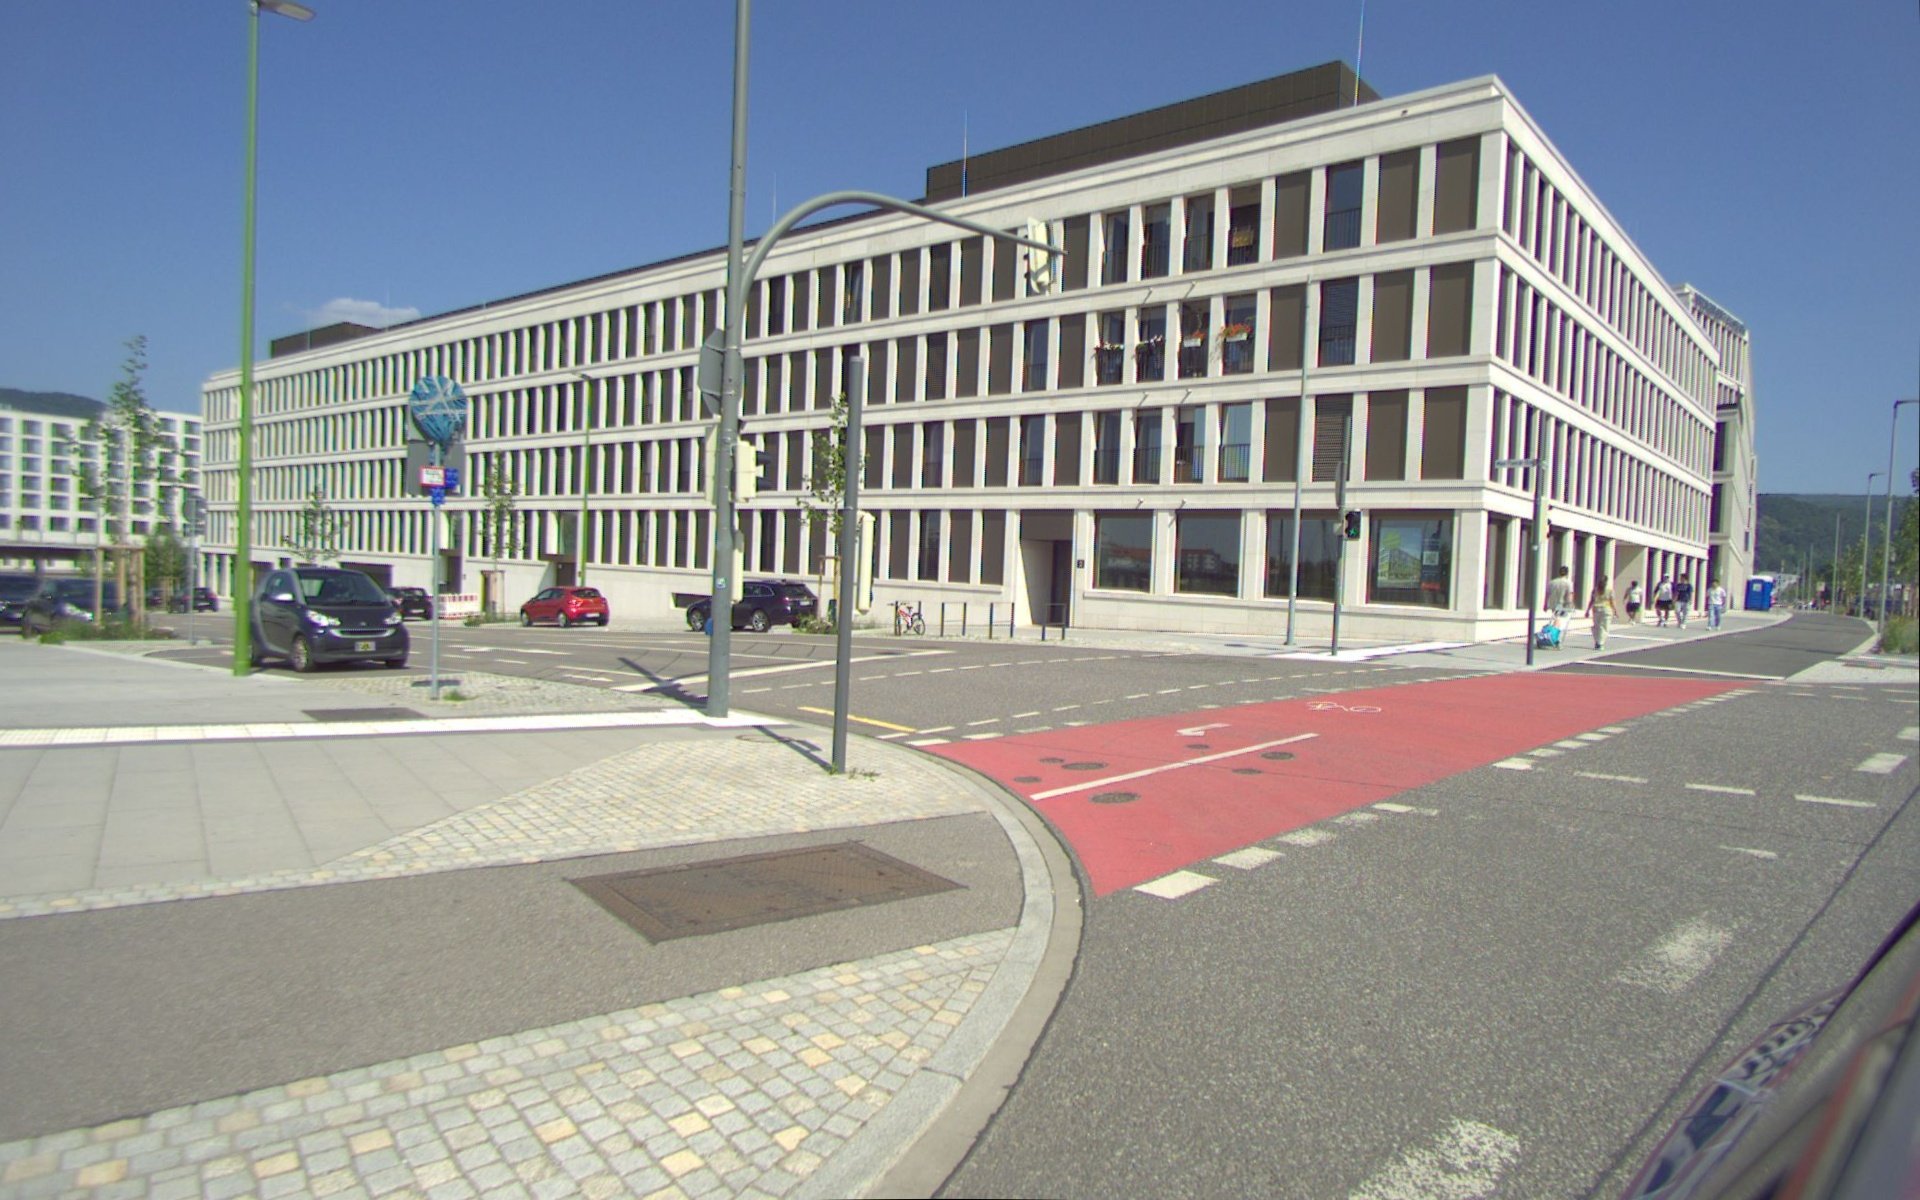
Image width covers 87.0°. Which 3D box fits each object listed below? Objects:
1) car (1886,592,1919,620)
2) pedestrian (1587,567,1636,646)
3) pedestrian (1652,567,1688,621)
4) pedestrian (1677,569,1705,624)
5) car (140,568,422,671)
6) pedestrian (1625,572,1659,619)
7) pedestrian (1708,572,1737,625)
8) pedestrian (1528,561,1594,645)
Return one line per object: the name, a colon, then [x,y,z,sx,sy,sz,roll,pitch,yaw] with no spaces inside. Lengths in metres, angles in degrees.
car: [55.073,0.325,58.748,1.806,1.527,3.936,2,2,44]
pedestrian: [14.984,0.126,23.275,0.783,1.744,0.701,-1,4,-44]
pedestrian: [24.493,-0.224,34.914,0.825,1.805,0.912,4,3,44]
pedestrian: [24.537,-0.125,33.966,0.577,1.760,0.981,4,6,44]
car: [-10.202,0.268,15.364,3.303,1.482,1.459,0,1,-1]
pedestrian: [23.819,-0.167,35.344,0.769,1.585,0.829,4,3,44]
pedestrian: [25.963,-0.051,34.456,0.577,1.740,0.981,6,4,44]
pedestrian: [13.686,0.048,23.034,1.637,1.849,0.878,0,1,-44]
